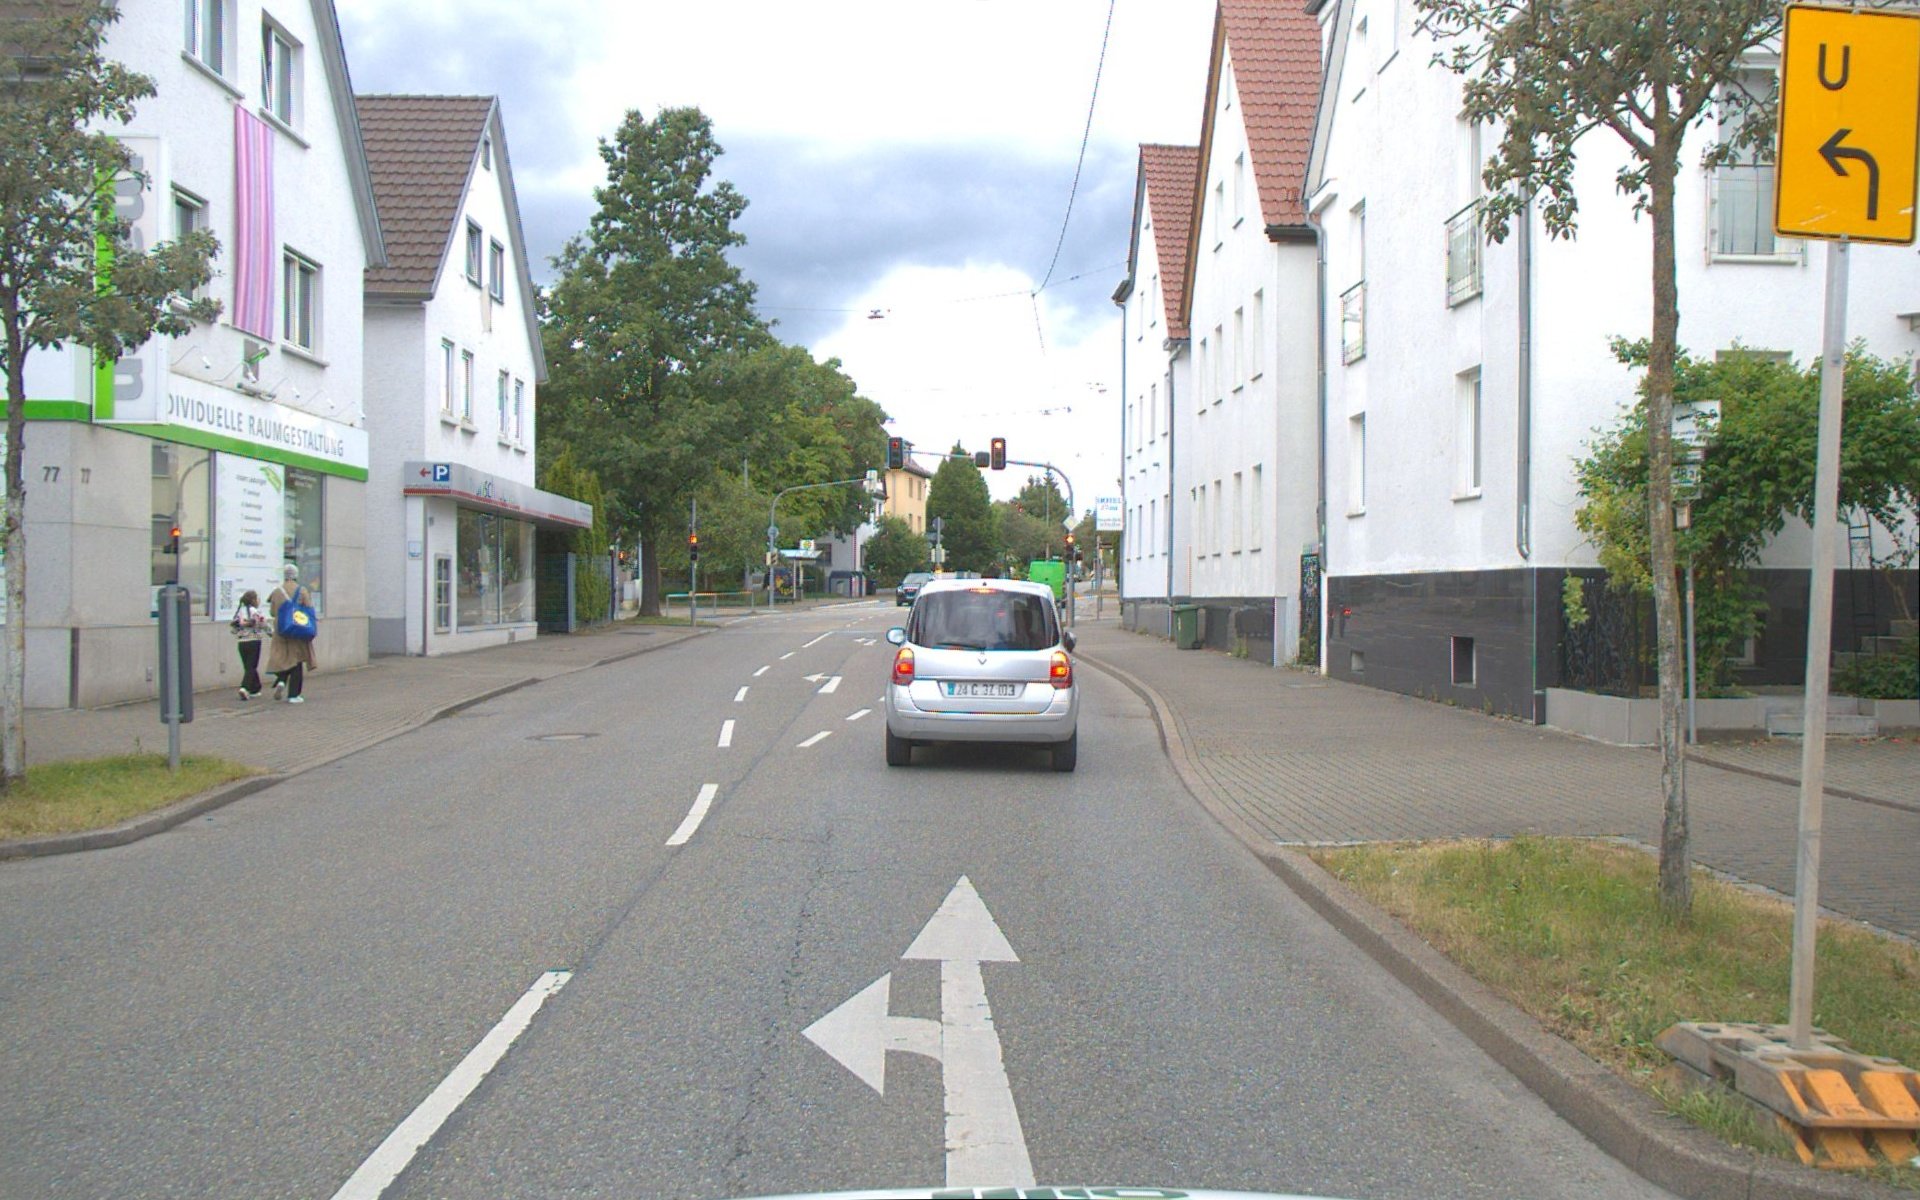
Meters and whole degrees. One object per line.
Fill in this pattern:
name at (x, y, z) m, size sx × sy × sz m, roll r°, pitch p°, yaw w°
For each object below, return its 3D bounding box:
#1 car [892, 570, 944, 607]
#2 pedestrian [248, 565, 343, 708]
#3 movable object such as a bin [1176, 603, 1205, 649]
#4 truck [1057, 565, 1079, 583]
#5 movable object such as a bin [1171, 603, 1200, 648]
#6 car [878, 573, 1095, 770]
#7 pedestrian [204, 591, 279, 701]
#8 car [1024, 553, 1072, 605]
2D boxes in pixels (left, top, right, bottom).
car at (-2.189, -0.606, 87.145) m, size 1.885 × 1.804 × 4.004 m, roll -4°, pitch 0°, yaw 10°
pedestrian at (-7.983, 0.433, 19.896) m, size 0.736 × 1.645 × 0.793 m, roll 3°, pitch 0°, yaw -1°
movable object such as a bin at (4.914, 0.550, 35.269) m, size 0.529 × 0.957 × 0.487 m, roll -2°, pitch 0°, yaw 0°
truck at (13.081, -3.080, 199.489) m, size 2.056 × 2.049 × 5.752 m, roll 1°, pitch 0°, yaw 9°
movable object such as a bin at (4.889, 0.546, 35.805) m, size 0.529 × 0.957 × 0.487 m, roll -2°, pitch 0°, yaw 0°
car at (0.204, 0.564, 15.298) m, size 1.719 × 1.557 × 4.000 m, roll 1°, pitch 0°, yaw 0°
pedestrian at (-8.714, 0.550, 20.088) m, size 0.587 × 1.302 × 0.655 m, roll 2°, pitch 0°, yaw -1°
car at (4.578, -1.055, 85.360) m, size 2.015 × 2.556 × 5.600 m, roll 1°, pitch 0°, yaw 7°
